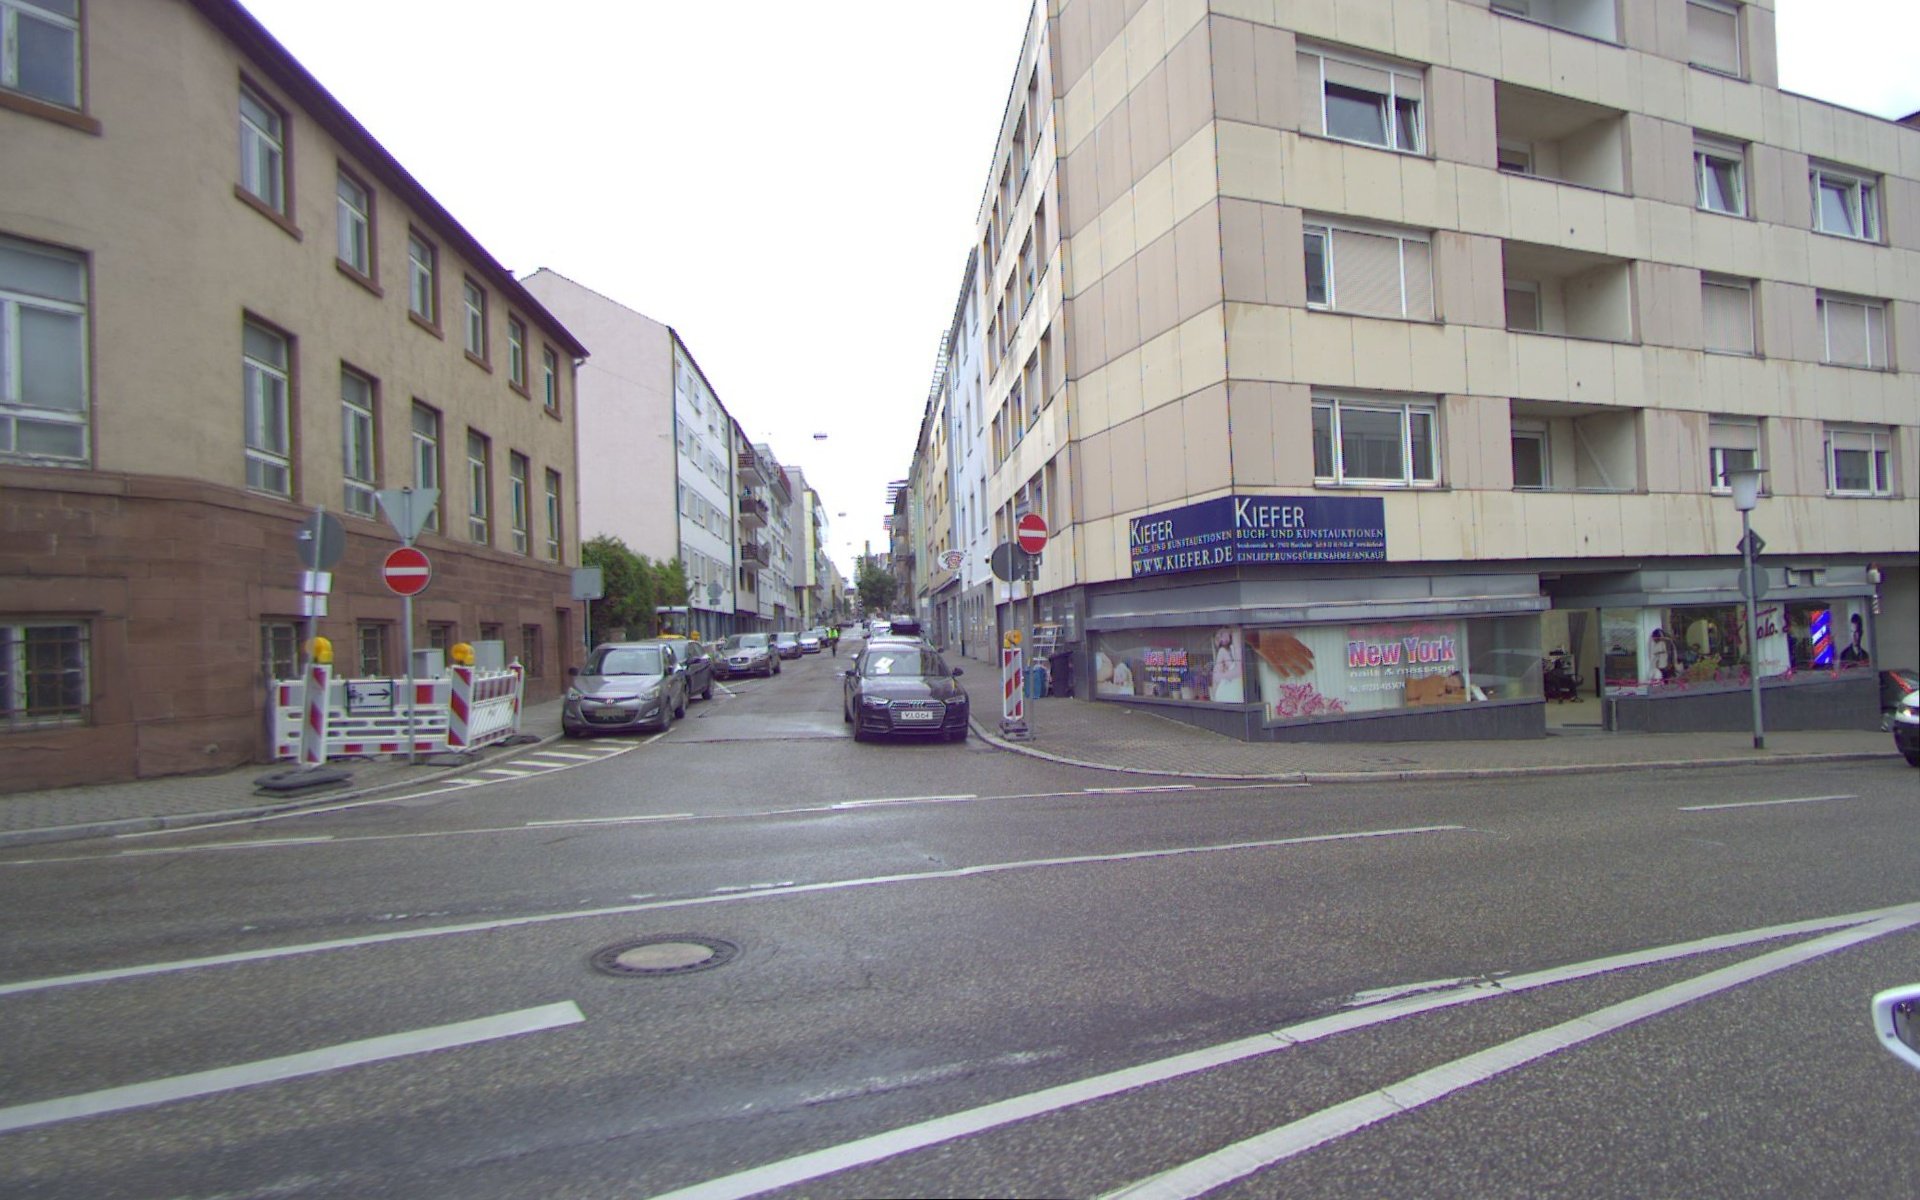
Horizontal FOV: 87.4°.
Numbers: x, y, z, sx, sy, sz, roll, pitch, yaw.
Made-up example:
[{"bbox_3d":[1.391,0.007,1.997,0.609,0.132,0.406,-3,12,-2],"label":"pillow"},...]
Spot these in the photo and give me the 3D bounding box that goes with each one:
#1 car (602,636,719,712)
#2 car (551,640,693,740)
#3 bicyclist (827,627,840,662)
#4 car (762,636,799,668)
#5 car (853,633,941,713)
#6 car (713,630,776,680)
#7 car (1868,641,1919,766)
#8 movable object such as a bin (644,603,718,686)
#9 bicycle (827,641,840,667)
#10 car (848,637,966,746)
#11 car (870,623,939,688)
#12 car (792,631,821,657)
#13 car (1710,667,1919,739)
[{"bbox_3d":[-6.773,1.629,23.097,1.720,1.486,3.513,-2,-1,-2],"label":"car"},{"bbox_3d":[-5.986,1.531,18.220,1.721,1.486,3.808,-2,-1,-8],"label":"car"},{"bbox_3d":[-6.737,2.384,53.586,0.638,1.833,0.823,1,-2,-7],"label":"bicyclist"},{"bbox_3d":[-9.578,2.745,53.761,1.721,1.486,3.995,-2,-1,-8],"label":"car"},{"bbox_3d":[-1.393,1.513,21.918,1.720,1.486,3.998,1,-1,-4],"label":"car"},{"bbox_3d":[-7.146,1.792,33.591,1.721,1.486,3.995,-2,-1,-8],"label":"car"},{"bbox_3d":[16.172,1.560,15.293,4.205,1.827,1.858,2,-4,-23],"label":"car"},{"bbox_3d":[-8.996,1.398,32.655,1.721,2.465,3.995,-2,-1,-8],"label":"movable object such as a bin"},{"bbox_3d":[-6.743,2.887,53.595,0.638,1.334,2.235,1,-3,-7],"label":"bicycle"},{"bbox_3d":[-0.934,1.429,16.965,1.720,1.524,4.363,1,-1,-4],"label":"car"},{"bbox_3d":[-1.541,1.441,27.265,1.720,1.604,3.998,1,-1,-4],"label":"car"},{"bbox_3d":[-9.833,2.789,64.603,1.721,1.486,4.330,-2,-1,-8],"label":"car"},{"bbox_3d":[20.288,2.436,23.490,1.658,1.366,3.976,0,-9,-28],"label":"car"}]
